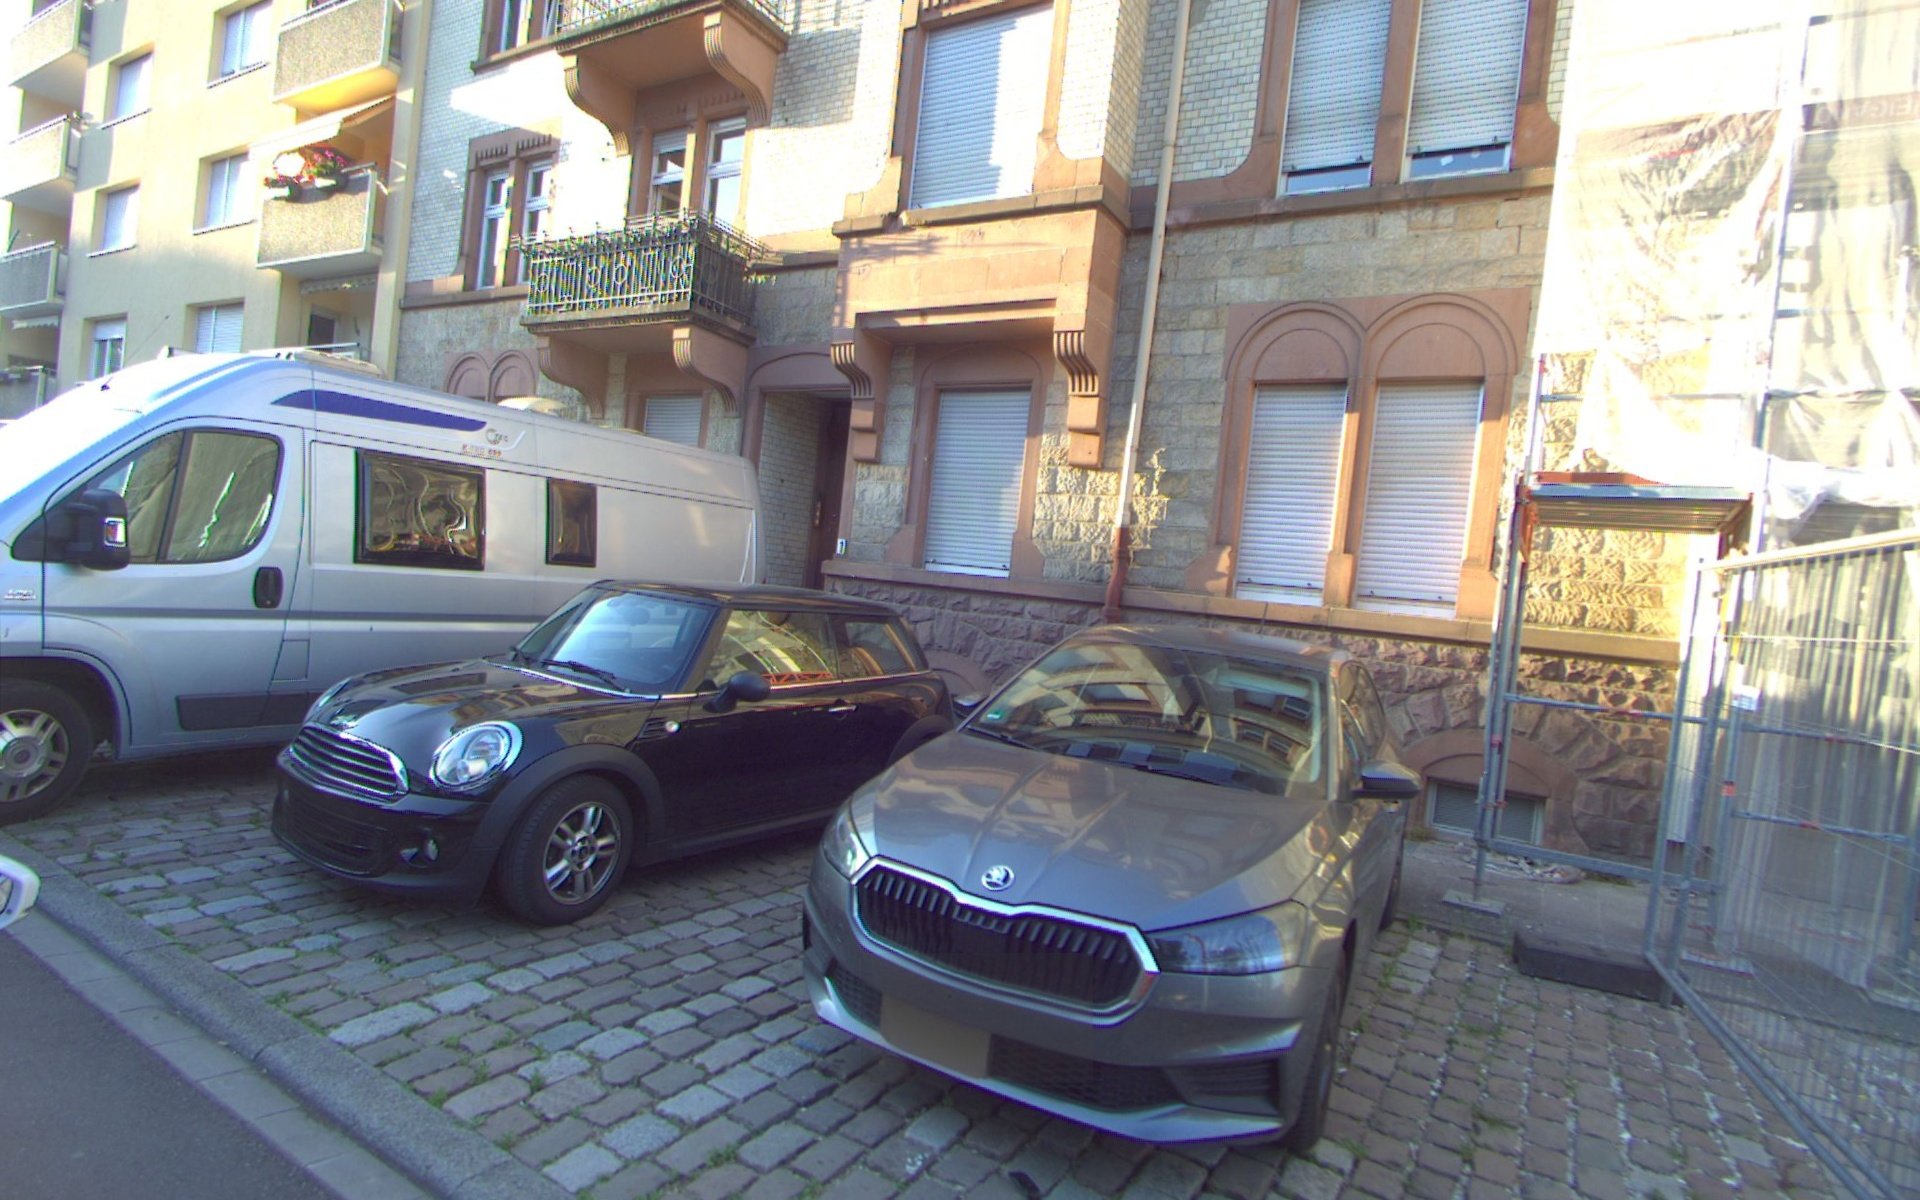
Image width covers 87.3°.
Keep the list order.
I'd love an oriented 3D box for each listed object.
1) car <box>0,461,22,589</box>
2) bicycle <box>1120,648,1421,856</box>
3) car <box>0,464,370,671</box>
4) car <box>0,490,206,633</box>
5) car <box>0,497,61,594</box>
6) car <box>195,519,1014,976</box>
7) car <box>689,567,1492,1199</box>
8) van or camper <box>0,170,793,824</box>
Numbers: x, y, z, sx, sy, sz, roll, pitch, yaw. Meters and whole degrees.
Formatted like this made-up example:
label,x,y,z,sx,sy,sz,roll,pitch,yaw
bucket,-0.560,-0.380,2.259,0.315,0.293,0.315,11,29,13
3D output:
label,x,y,z,sx,sy,sz,roll,pitch,yaw
car,-18.314,-1.563,15.810,1.966,2.171,4.715,7,-1,30
bicycle,2.329,1.087,7.627,1.999,1.182,0.632,7,0,26
car,-8.454,-0.315,9.726,1.741,1.750,4.443,7,1,25
car,-10.811,-0.477,10.750,1.803,1.473,3.991,7,2,27
car,-16.056,-0.977,14.529,1.690,1.444,4.239,6,1,31
car,-1.485,0.525,5.520,1.758,1.505,3.934,5,1,33
car,1.036,0.803,4.300,1.984,1.536,3.991,6,2,27
van or camper,-3.976,-0.326,6.709,2.074,2.802,5.940,7,-1,30
